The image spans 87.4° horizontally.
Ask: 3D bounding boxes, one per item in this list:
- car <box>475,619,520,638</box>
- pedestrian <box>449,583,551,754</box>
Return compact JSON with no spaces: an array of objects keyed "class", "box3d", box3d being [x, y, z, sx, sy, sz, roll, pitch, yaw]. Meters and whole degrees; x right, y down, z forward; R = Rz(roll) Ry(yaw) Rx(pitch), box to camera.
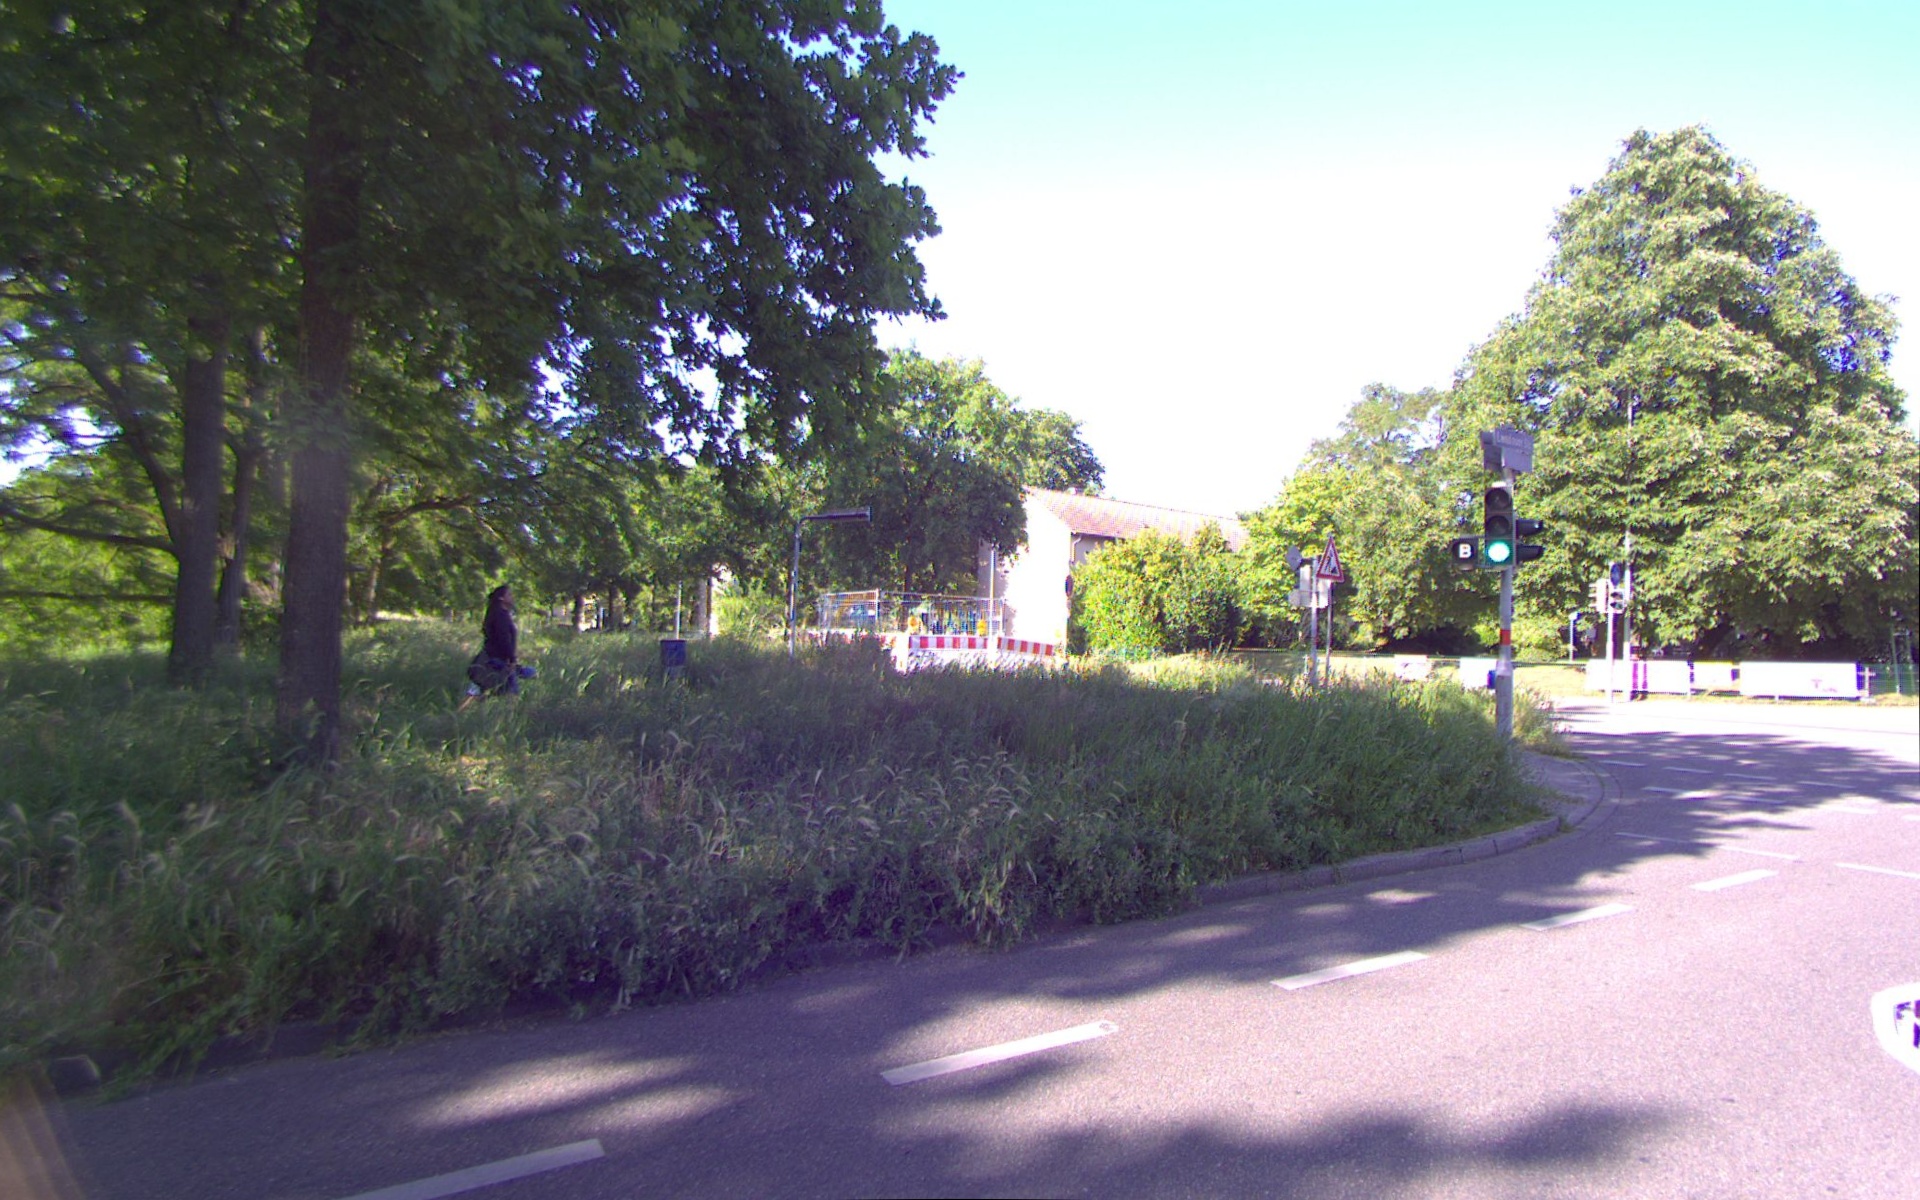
[{"class":"car","box3d":[-47.924,2.957,104.166,3.939,1.673,1.991,3,-1,-20]},{"class":"pedestrian","box3d":[-4.887,0.695,10.640,0.880,1.710,0.909,2,0,-29]}]
